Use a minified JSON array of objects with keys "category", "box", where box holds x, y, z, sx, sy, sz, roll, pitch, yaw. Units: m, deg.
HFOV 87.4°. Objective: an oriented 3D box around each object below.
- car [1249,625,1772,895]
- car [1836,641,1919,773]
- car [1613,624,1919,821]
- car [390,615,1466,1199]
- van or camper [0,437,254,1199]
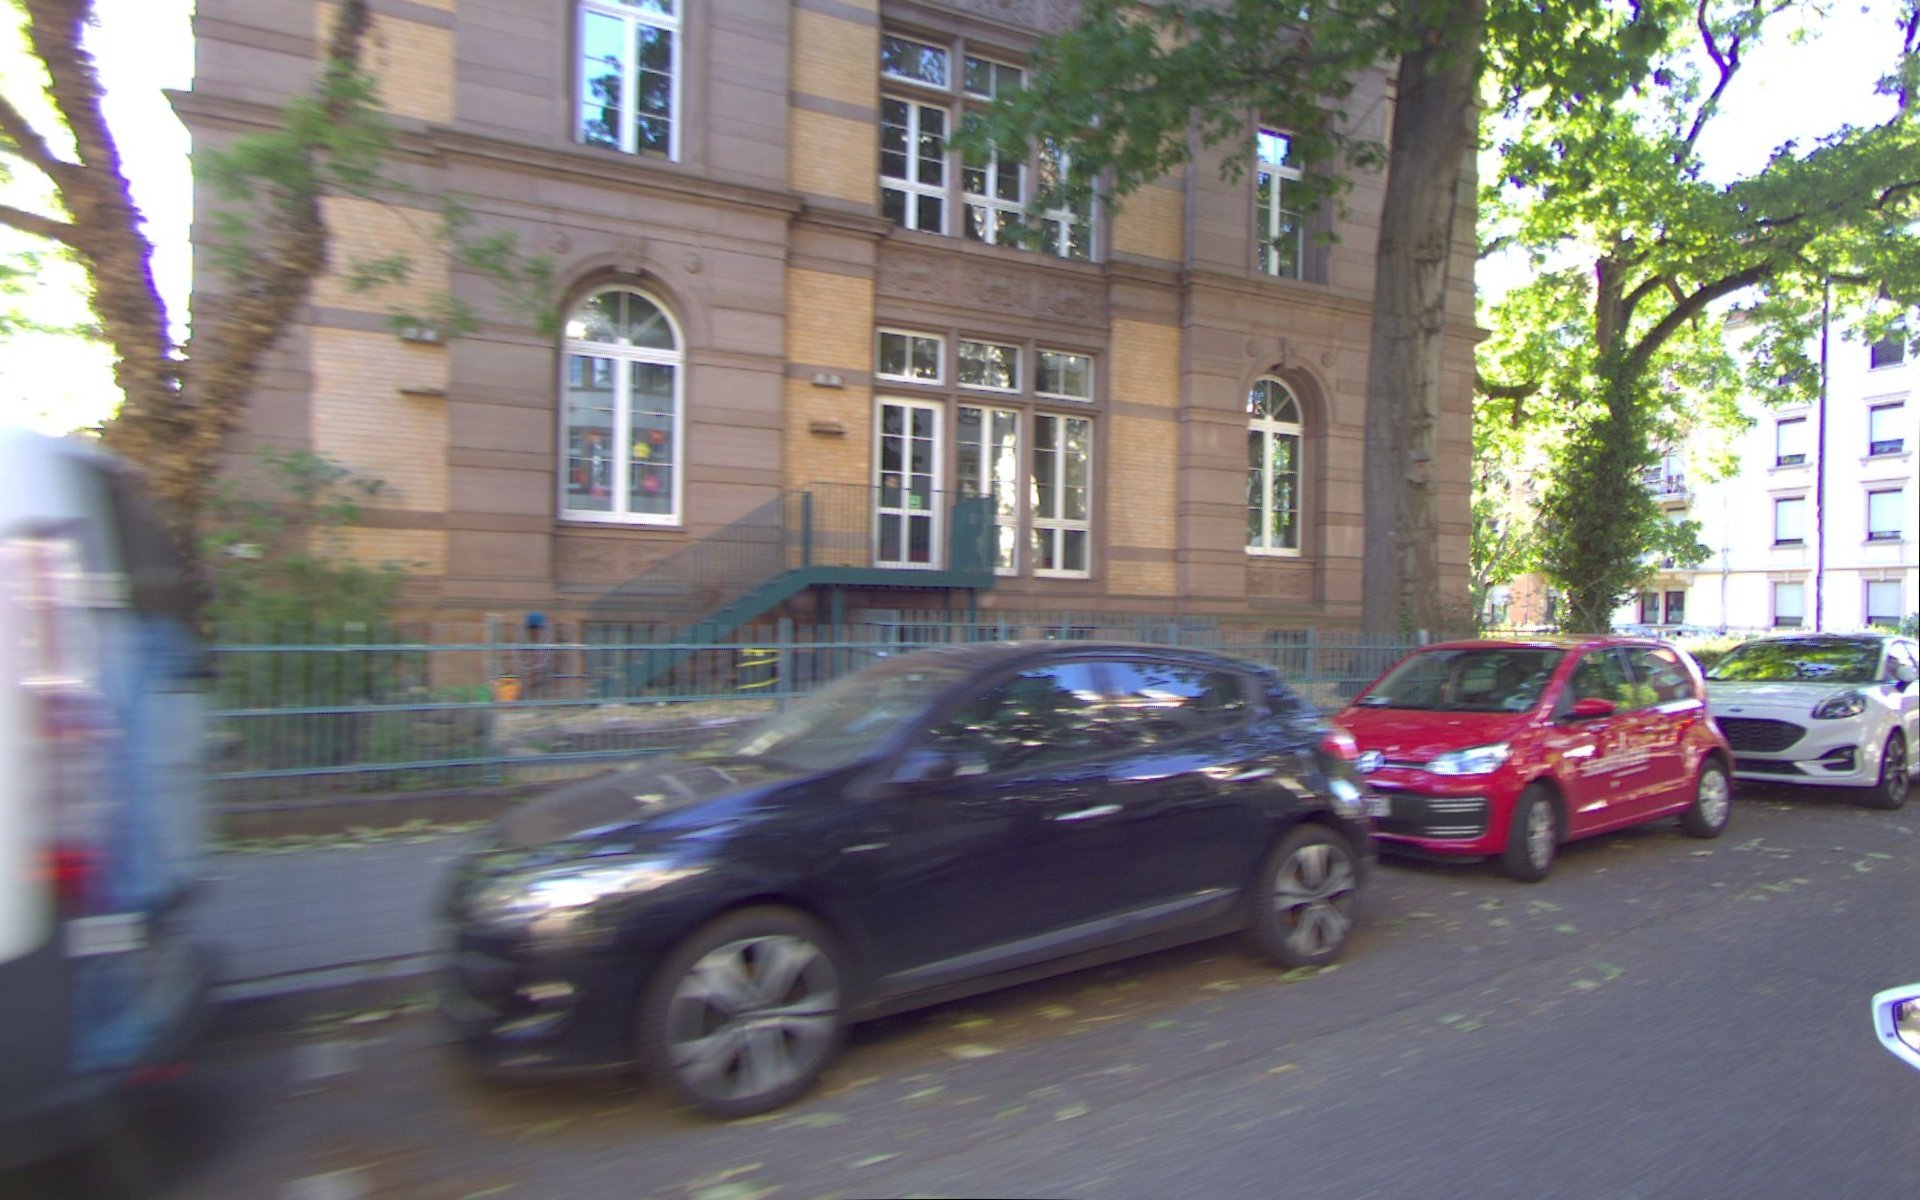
[{"category":"car","box":[4.090,0.959,7.286,3.983,1.479,1.593,1,-4,-33]},{"category":"car","box":[12.711,1.246,12.592,4.424,1.493,1.734,2,-5,-38]},{"category":"car","box":[8.454,1.094,10.002,4.091,1.574,1.814,2,-5,-35]},{"category":"car","box":[0.047,0.871,4.604,4.555,1.476,1.990,2,-3,-32]},{"category":"van or camper","box":[-4.485,0.651,1.561,5.403,2.005,1.911,2,-4,-33]}]
